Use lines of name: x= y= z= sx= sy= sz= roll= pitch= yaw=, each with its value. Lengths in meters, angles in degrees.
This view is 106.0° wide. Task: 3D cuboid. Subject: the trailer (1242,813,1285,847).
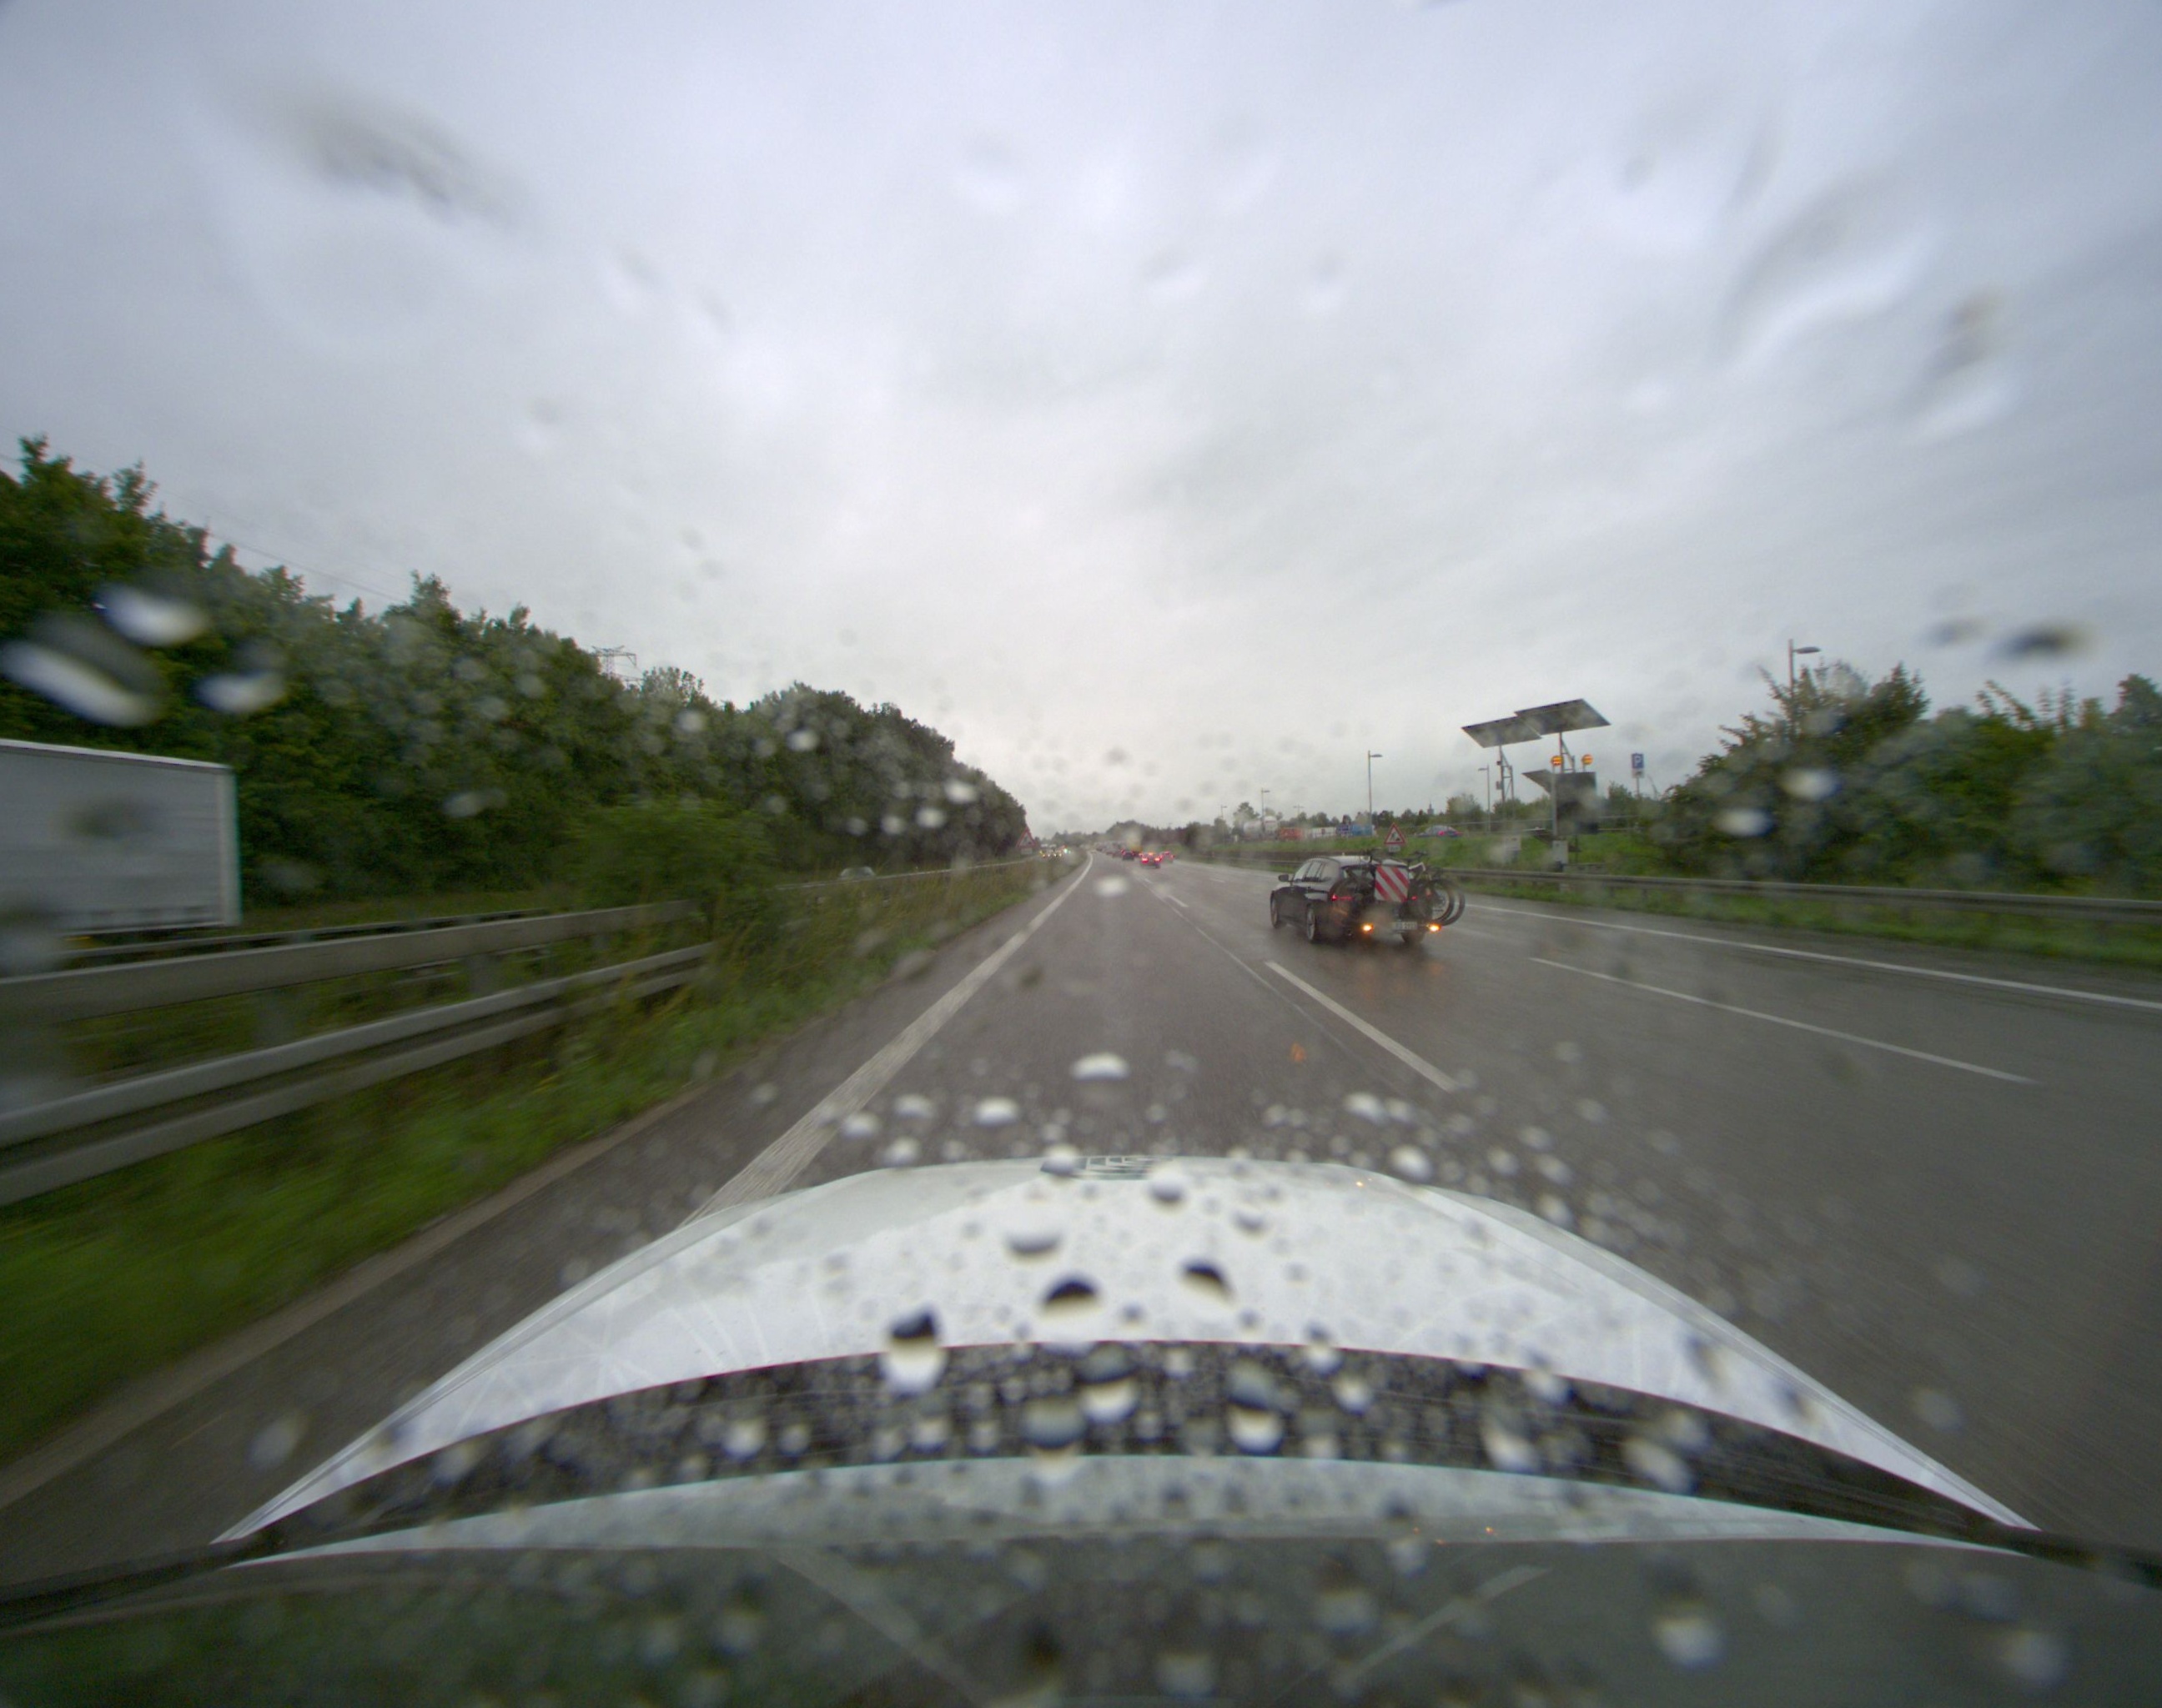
trailer: x=24.180 y=-3.066 z=108.824 sx=2.974 sy=4.156 sz=12.960 roll=-2 pitch=0 yaw=1

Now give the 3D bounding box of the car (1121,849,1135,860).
car: x=7.461 y=0.046 z=130.102 sx=1.986 sy=1.628 sz=4.001 roll=-2 pitch=0 yaw=1

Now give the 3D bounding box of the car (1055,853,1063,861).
car: x=-5.069 y=0.715 z=189.103 sx=1.598 sy=1.884 sz=3.573 roll=-2 pitch=0 yaw=1

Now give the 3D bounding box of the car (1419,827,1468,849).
car: x=28.094 y=-1.213 z=63.255 sx=1.784 sy=1.624 sz=3.995 roll=-2 pitch=0 yaw=-3

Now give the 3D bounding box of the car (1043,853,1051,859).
car: x=-8.788 y=0.577 z=212.683 sx=1.672 sy=1.397 sz=4.001 roll=-2 pitch=0 yaw=1

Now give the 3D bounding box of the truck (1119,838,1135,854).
truck: x=12.627 y=-2.178 z=225.209 sx=3.910 sy=3.981 sz=12.243 roll=-2 pitch=0 yaw=2

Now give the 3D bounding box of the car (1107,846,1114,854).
car: x=8.224 y=-1.016 z=226.189 sx=1.986 sy=2.205 sz=4.001 roll=-2 pitch=0 yaw=1

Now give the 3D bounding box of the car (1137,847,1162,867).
car: x=6.417 y=0.298 z=76.506 sx=1.986 sy=1.761 sz=4.001 roll=-2 pitch=0 yaw=1

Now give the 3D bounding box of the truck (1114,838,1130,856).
truck: x=12.880 y=-2.192 z=257.208 sx=4.271 sy=5.568 sz=12.243 roll=-2 pitch=0 yaw=2

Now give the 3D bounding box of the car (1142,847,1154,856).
car: x=12.469 y=-0.493 z=152.155 sx=1.986 sy=1.628 sz=4.001 roll=-2 pitch=0 yaw=1

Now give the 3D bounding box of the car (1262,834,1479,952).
car: x=4.748 y=0.595 z=14.406 sx=2.050 sy=1.671 sz=5.524 roll=-1 pitch=-1 yaw=2

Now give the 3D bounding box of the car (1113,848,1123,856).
car: x=7.596 y=-0.411 z=169.211 sx=1.986 sy=1.628 sz=4.001 roll=-2 pitch=0 yaw=1

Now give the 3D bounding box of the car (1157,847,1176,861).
car: x=10.882 y=-0.012 z=103.959 sx=1.986 sy=1.761 sz=4.001 roll=-2 pitch=0 yaw=1

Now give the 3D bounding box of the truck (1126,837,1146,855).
truck: x=12.452 y=-1.758 z=186.774 sx=3.910 sy=3.981 sz=12.243 roll=-2 pitch=0 yaw=2

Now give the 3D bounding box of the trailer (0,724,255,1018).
trailer: x=-17.010 y=0.296 z=8.265 sx=2.634 sy=4.237 sz=13.916 roll=-2 pitch=0 yaw=2

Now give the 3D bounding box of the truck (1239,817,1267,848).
truck: x=24.377 y=-3.066 z=115.832 sx=2.938 sy=4.145 sz=4.924 roll=-2 pitch=0 yaw=2

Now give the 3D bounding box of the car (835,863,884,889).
car: x=-13.233 y=1.285 z=48.831 sx=1.672 sy=1.397 sz=4.001 roll=-2 pitch=0 yaw=1
